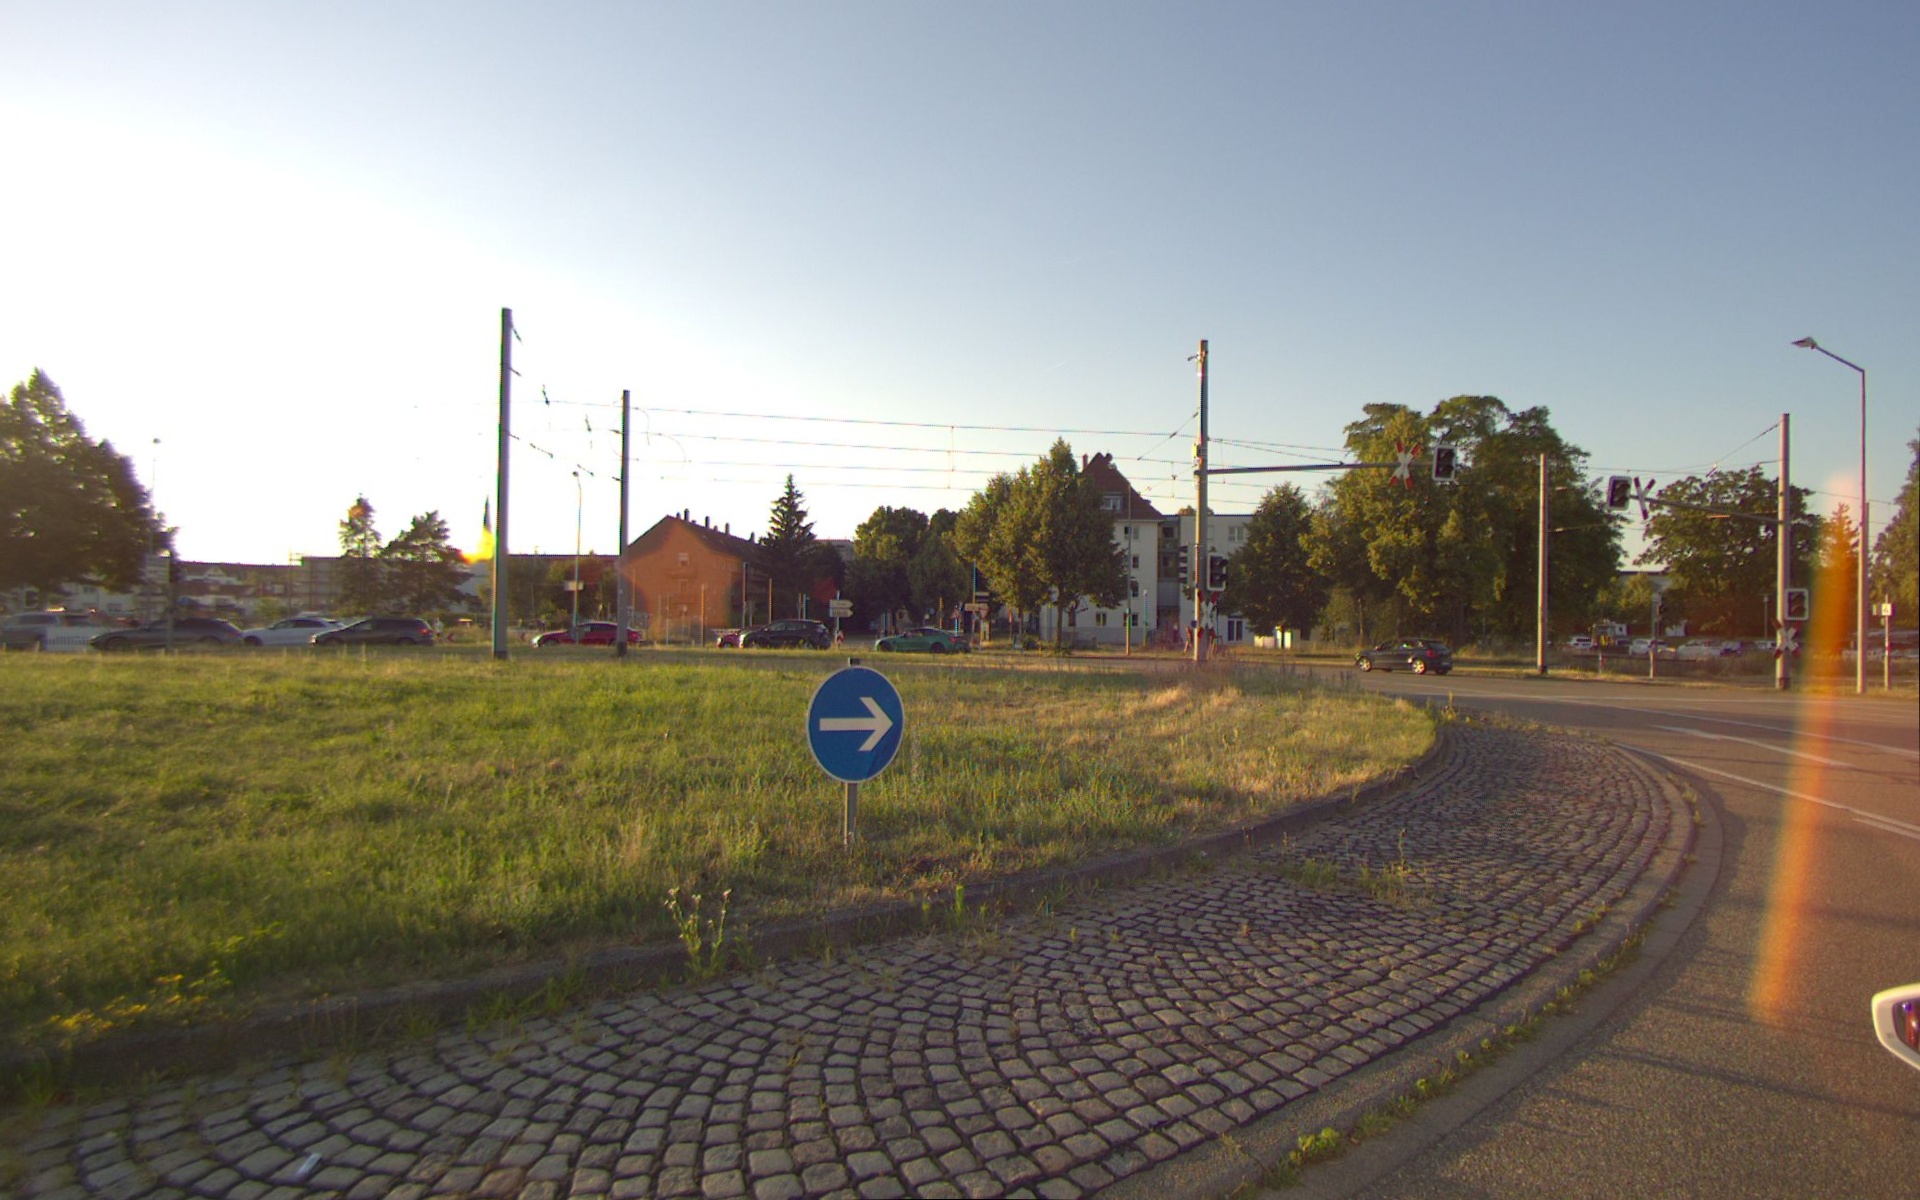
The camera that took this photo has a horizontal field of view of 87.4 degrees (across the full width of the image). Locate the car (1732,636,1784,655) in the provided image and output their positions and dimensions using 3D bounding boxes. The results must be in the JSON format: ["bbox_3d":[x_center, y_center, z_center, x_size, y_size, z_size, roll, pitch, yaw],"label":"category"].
[{"bbox_3d":[77.336,4.425,97.410,3.938,1.684,1.894,0,-1,39],"label":"car"}]

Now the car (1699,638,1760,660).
[{"bbox_3d":[61.624,3.916,80.555,1.960,1.625,4.002,1,-1,3],"label":"car"}]

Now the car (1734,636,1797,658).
[{"bbox_3d":[64.005,3.721,79.926,1.960,1.625,4.002,1,-1,3],"label":"car"}]

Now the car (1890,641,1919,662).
[{"bbox_3d":[76.342,4.093,79.470,1.960,1.625,4.002,1,-1,3],"label":"car"}]

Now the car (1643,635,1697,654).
[{"bbox_3d":[69.200,4.335,97.927,3.919,1.684,1.904,1,-1,5],"label":"car"}]

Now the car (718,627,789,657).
[{"bbox_3d":[-10.986,2.219,53.560,3.421,1.519,1.643,1,-1,1],"label":"car"}]

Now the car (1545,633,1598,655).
[{"bbox_3d":[49.404,3.548,81.224,1.960,1.625,4.002,1,-1,3],"label":"car"}]

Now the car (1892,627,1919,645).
[{"bbox_3d":[107.442,4.036,112.592,3.919,2.040,2.001,1,-1,11],"label":"car"}]

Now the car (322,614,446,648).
[{"bbox_3d":[-24.311,1.313,42.563,4.323,1.394,1.989,1,-1,-24],"label":"car"}]

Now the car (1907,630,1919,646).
[{"bbox_3d":[105.574,4.119,108.715,1.971,1.728,3.979,1,-1,-22],"label":"car"}]

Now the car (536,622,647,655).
[{"bbox_3d":[-16.492,1.718,45.181,4.417,1.410,1.892,1,-1,-11],"label":"car"}]

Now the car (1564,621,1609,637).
[{"bbox_3d":[79.568,3.659,127.619,4.507,2.040,2.000,1,-1,0],"label":"car"}]

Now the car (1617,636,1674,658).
[{"bbox_3d":[54.746,3.706,80.332,1.960,1.625,4.002,1,-1,3],"label":"car"}]

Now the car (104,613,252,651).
[{"bbox_3d":[-30.674,1.254,39.562,4.299,1.394,1.985,1,-1,-29],"label":"car"}]

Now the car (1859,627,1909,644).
[{"bbox_3d":[108.021,4.136,117.444,3.919,1.840,2.001,1,-1,5],"label":"car"}]

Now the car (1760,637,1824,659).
[{"bbox_3d":[66.358,3.793,80.165,1.960,1.625,4.002,1,-1,3],"label":"car"}]

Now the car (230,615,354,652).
[{"bbox_3d":[-32.379,1.648,48.846,4.644,1.728,1.991,1,-1,-20],"label":"car"}]

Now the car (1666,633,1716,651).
[{"bbox_3d":[73.151,4.193,100.571,3.934,1.684,1.994,0,-1,35],"label":"car"}]

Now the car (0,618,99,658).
[{"bbox_3d":[-41.084,1.673,44.536,3.926,1.695,1.998,1,-1,-8],"label":"car"}]

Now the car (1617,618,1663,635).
[{"bbox_3d":[86.243,3.390,127.435,4.505,2.040,2.001,1,-1,5],"label":"car"}]

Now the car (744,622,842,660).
[{"bbox_3d":[-7.569,1.837,45.683,3.919,1.605,1.897,0,-1,15],"label":"car"}]

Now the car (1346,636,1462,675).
[{"bbox_3d":[17.754,2.191,40.322,1.676,1.372,3.964,-2,-1,-33],"label":"car"}]

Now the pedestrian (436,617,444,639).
[{"bbox_3d":[-32.265,1.741,62.367,0.392,1.325,0.426,1,-1,-30],"label":"pedestrian"}]

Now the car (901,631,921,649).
[{"bbox_3d":[-5.315,4.314,109.583,1.961,1.840,4.000,1,-1,-1],"label":"car"}]

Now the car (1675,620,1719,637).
[{"bbox_3d":[93.194,3.597,127.027,4.033,2.040,2.001,1,-1,4],"label":"car"}]

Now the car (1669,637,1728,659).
[{"bbox_3d":[59.505,3.854,81.033,1.960,1.625,4.002,1,-1,3],"label":"car"}]

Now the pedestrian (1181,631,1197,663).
[{"bbox_3d":[13.802,2.814,60.499,0.614,1.918,0.662,2,0,-35],"label":"pedestrian"}]

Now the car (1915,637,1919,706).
[{"bbox_3d":[24.137,1.700,22.077,1.961,1.659,4.525,1,-1,-1],"label":"car"}]

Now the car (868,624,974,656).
[{"bbox_3d":[-1.868,1.879,47.758,4.647,1.389,1.998,0,-1,27],"label":"car"}]

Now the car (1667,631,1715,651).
[{"bbox_3d":[75.721,4.233,104.104,3.934,2.040,1.994,0,-1,35],"label":"car"}]
